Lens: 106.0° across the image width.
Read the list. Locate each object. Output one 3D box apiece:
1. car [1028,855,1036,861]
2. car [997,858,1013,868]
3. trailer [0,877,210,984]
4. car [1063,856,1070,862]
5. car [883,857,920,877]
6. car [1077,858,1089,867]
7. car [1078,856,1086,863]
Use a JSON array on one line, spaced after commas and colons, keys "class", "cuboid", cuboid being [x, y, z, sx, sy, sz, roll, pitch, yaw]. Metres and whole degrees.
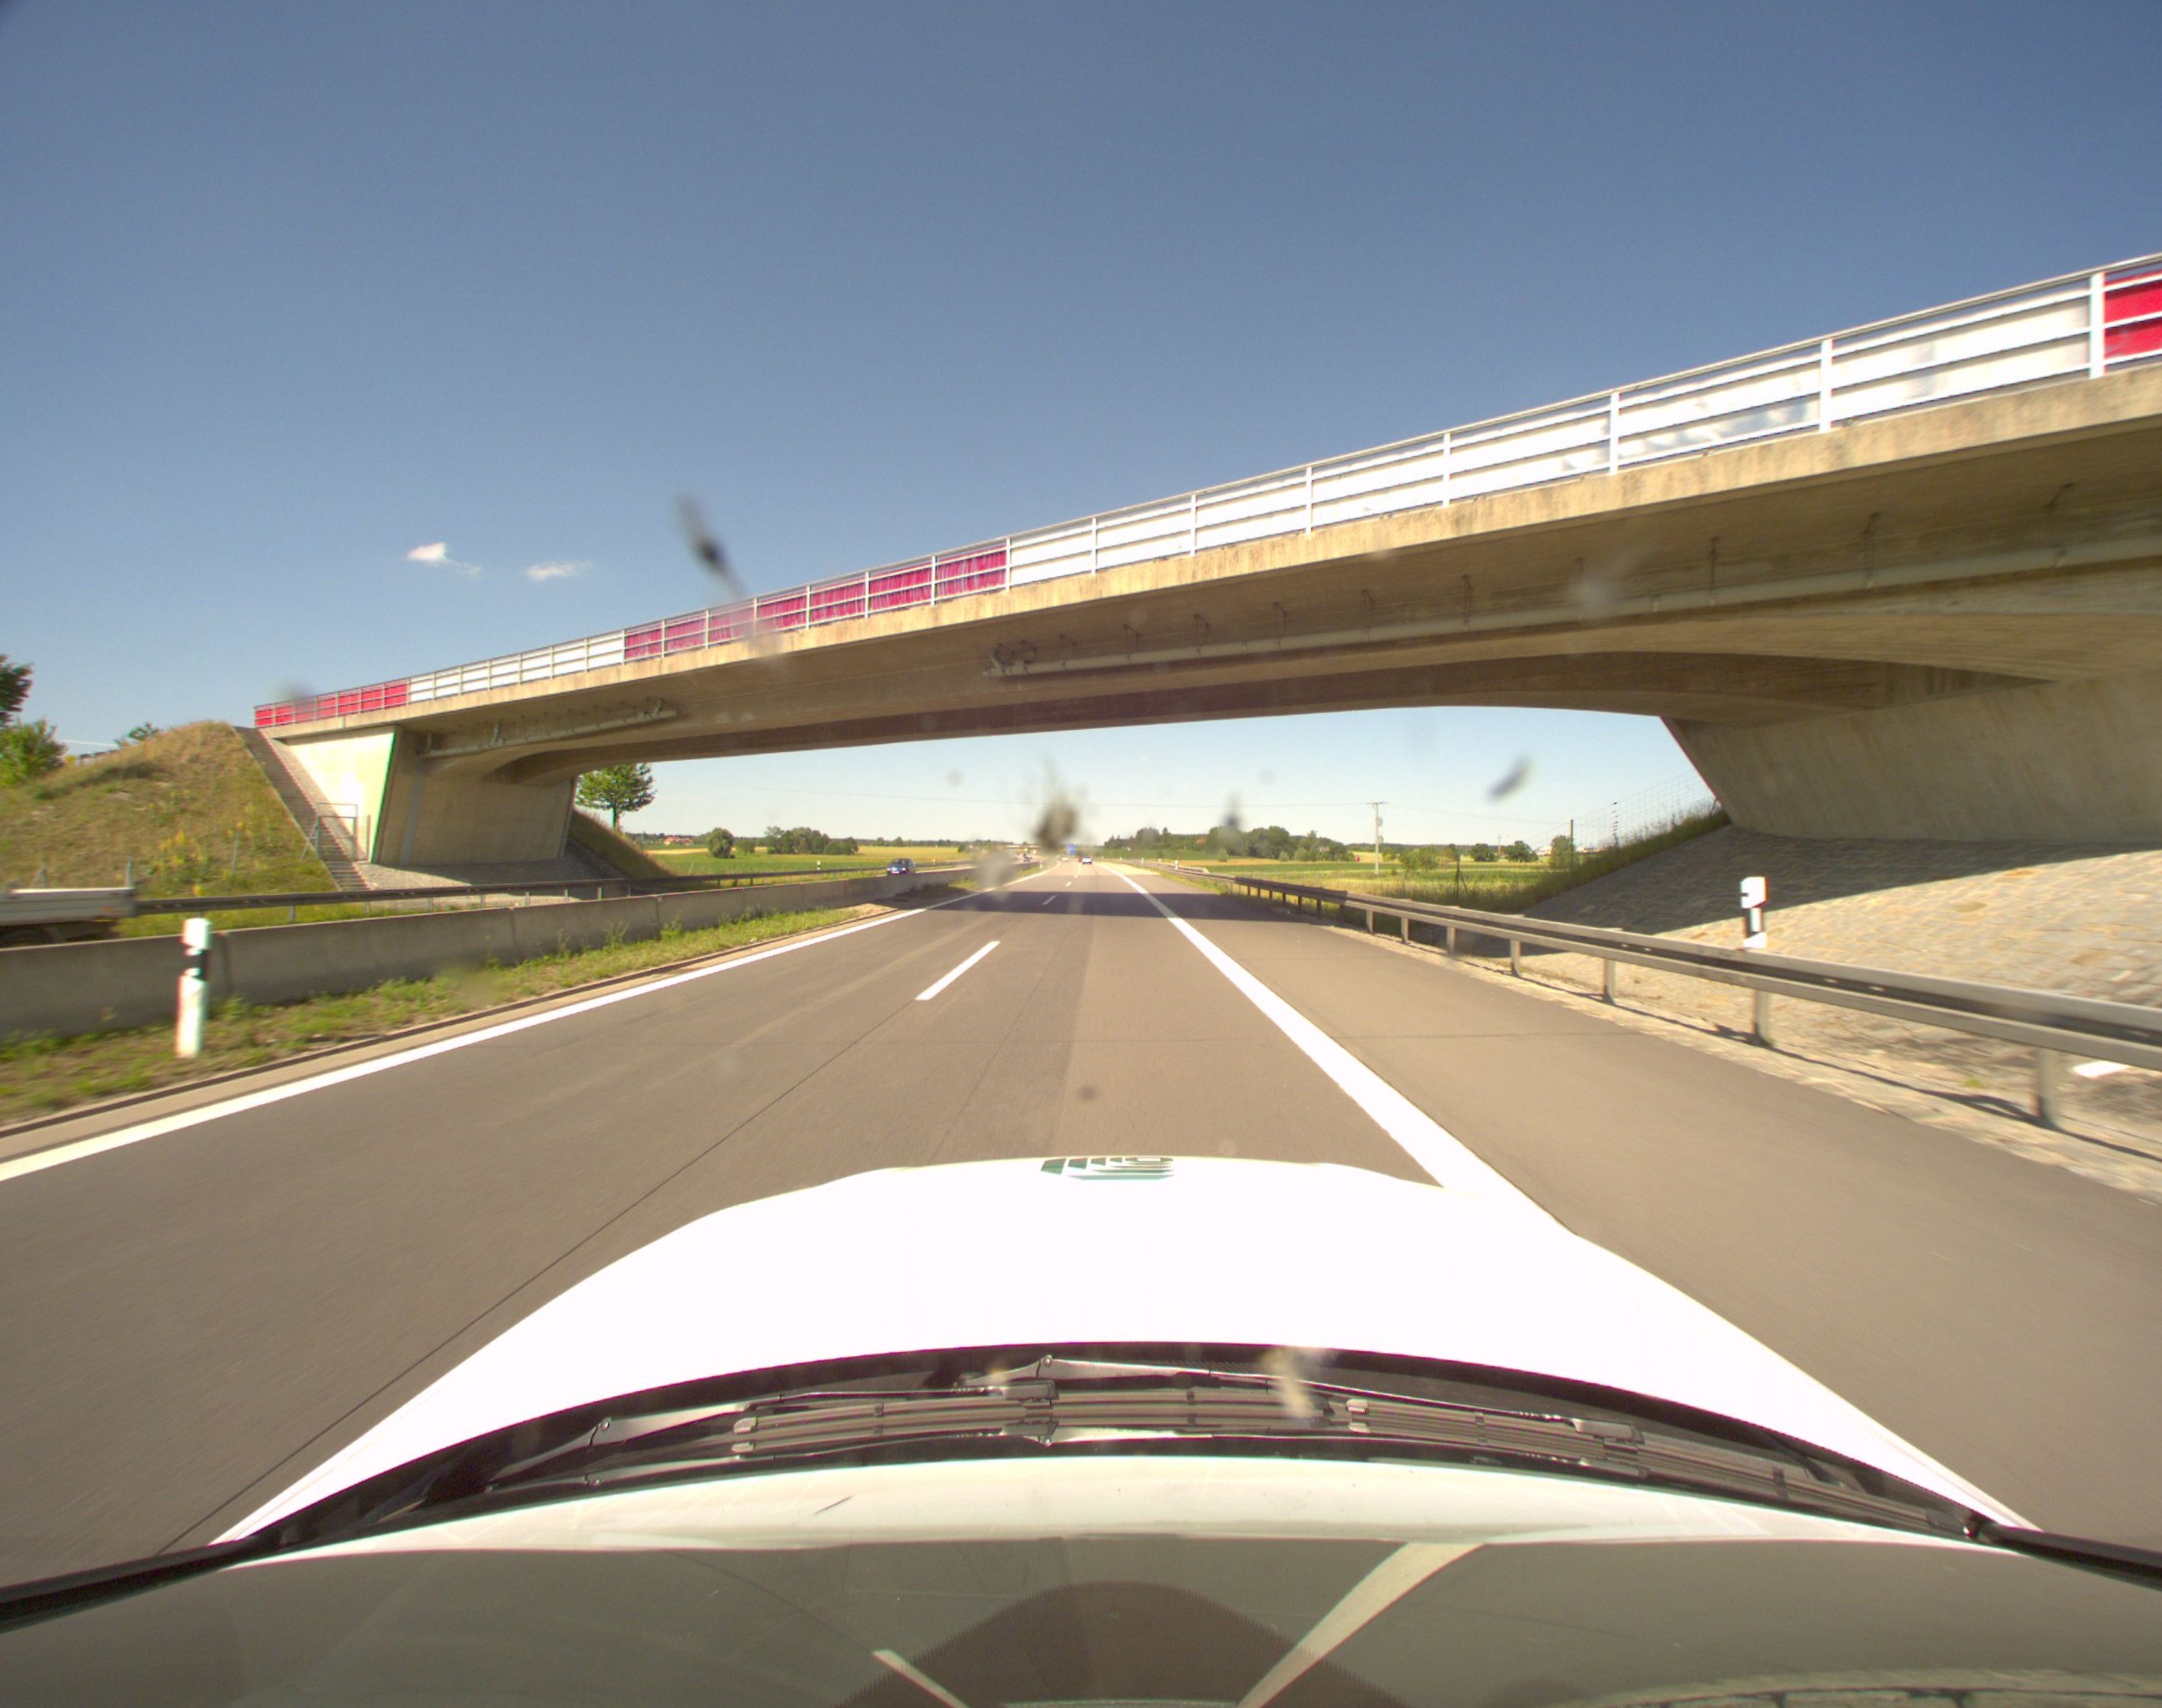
[{"class": "car", "cuboid": [-13.322, 0.965, 220.111, 1.853, 1.514, 4.585, 1, 0, 0]}, {"class": "car", "cuboid": [-12.037, 1.428, 128.520, 1.987, 1.579, 4.896, 1, -1, 1]}, {"class": "trailer", "cuboid": [-14.448, 0.987, 10.389, 1.986, 1.258, 4.264, 0, 0, 1]}, {"class": "car", "cuboid": [-4.055, 1.511, 233.508, 1.987, 1.731, 4.869, 0, 0, 0]}, {"class": "car", "cuboid": [-13.726, 0.996, 62.597, 1.848, 1.460, 4.195, -1, 0, 1]}, {"class": "car", "cuboid": [0.400, 1.589, 158.071, 1.990, 1.731, 4.862, 0, 0, -4]}, {"class": "car", "cuboid": [0.296, 1.356, 209.493, 1.988, 1.731, 4.866, 0, 0, -1]}]
